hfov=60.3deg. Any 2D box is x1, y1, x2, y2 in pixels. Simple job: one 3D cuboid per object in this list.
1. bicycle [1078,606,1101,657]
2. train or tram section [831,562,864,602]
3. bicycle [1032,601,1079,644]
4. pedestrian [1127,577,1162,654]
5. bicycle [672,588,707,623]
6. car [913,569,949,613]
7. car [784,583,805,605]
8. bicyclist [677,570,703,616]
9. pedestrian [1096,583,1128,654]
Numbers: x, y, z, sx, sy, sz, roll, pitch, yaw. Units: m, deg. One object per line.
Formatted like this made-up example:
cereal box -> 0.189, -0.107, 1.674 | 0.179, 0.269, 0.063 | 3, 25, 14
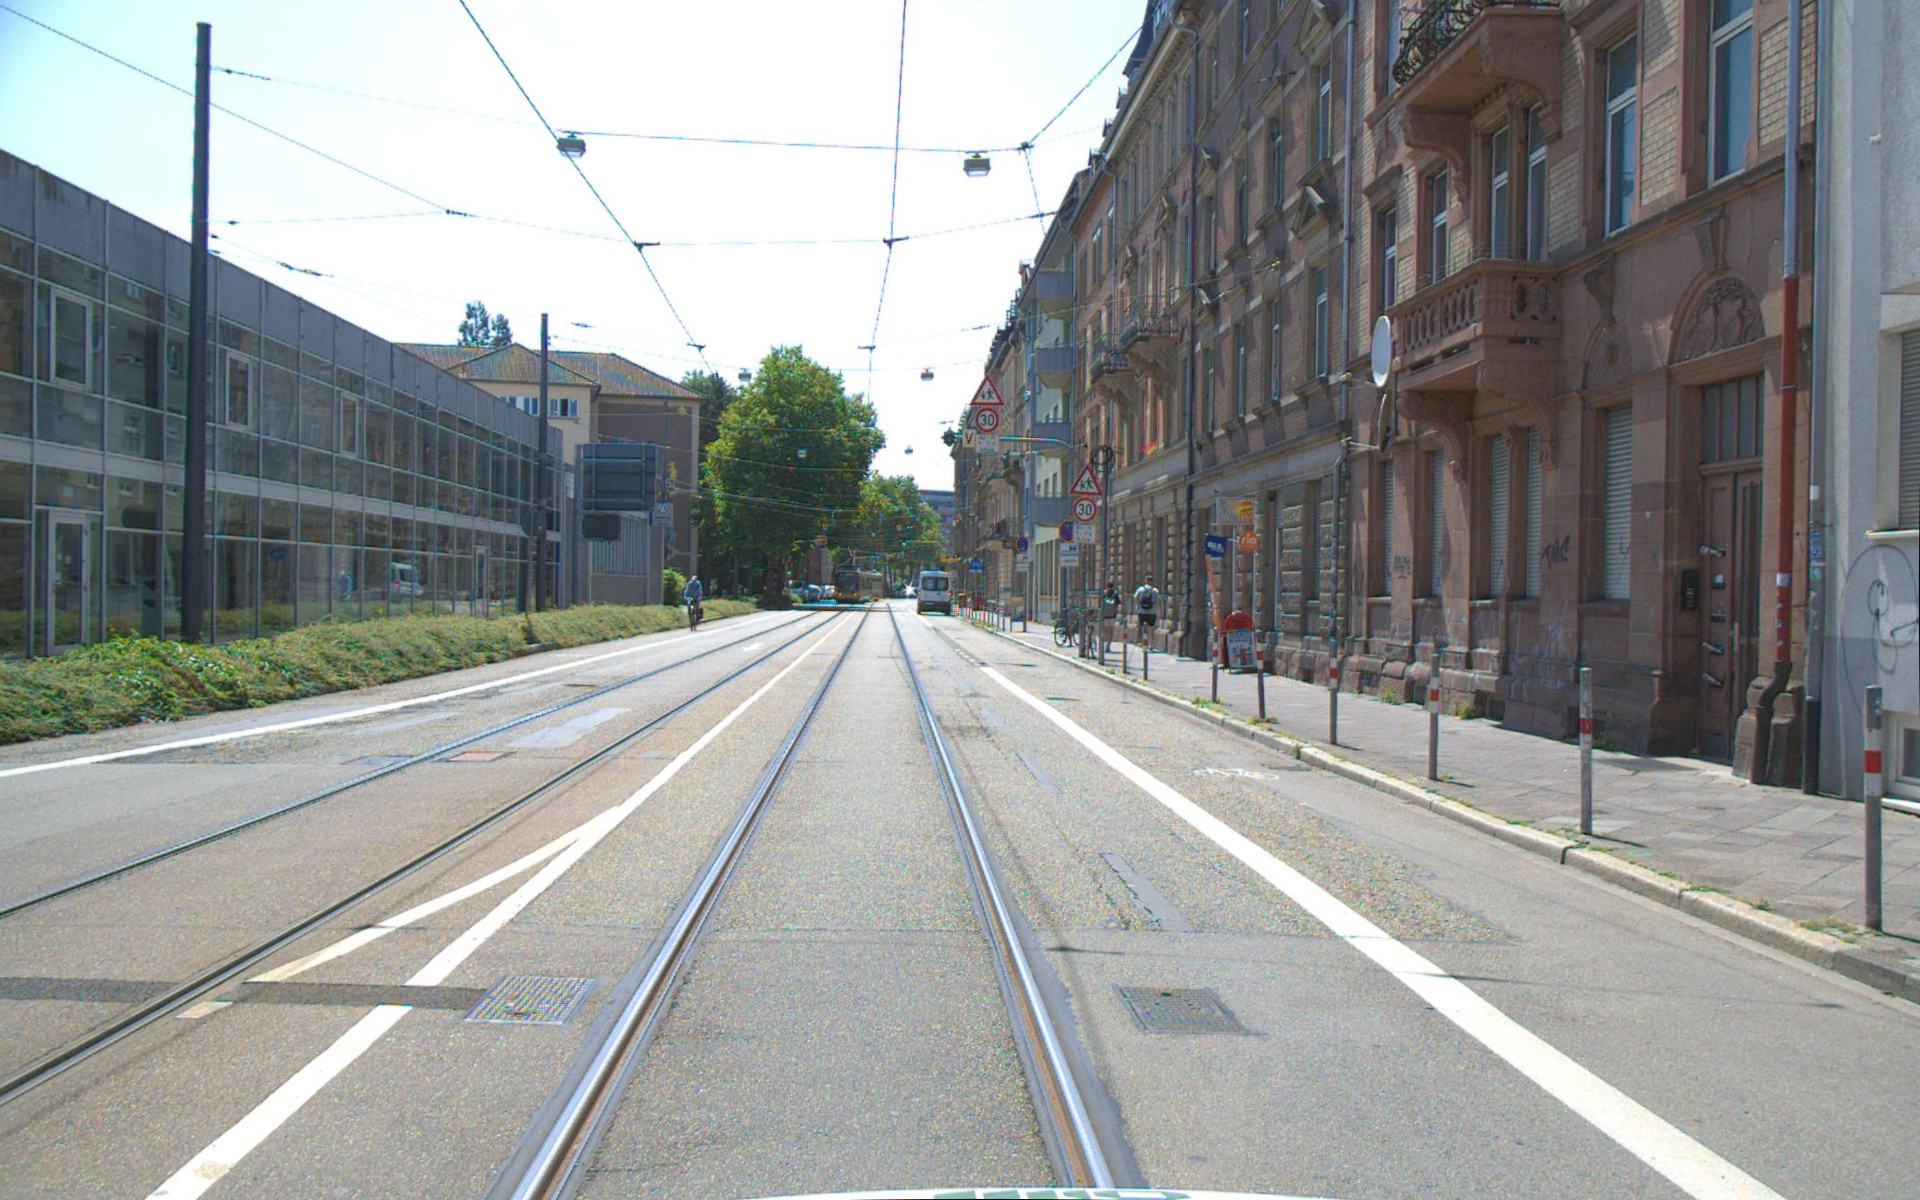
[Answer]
bicycle -> 2.955, 0.706, 37.955 | 0.438, 1.116, 2.423 | 0, 0, 3
train or tram section -> -10.762, -1.674, 159.083 | 2.902, 3.643, 13.415 | 1, 0, -3
bicycle -> 2.651, 0.616, 45.738 | 0.489, 1.150, 2.241 | 0, 0, 25
pedestrian -> 4.617, 0.372, 41.402 | 0.688, 1.881, 0.643 | -3, 0, -2
bicycle -> -9.208, 0.178, 56.365 | 0.683, 1.164, 2.496 | 1, 0, 2
car -> -1.753, -0.539, 99.702 | 2.026, 2.544, 5.452 | 2, 0, -2
car -> -14.949, -0.546, 149.178 | 1.765, 1.956, 3.996 | 2, 0, -5
bicyclist -> -9.193, -0.239, 56.394 | 0.683, 1.575, 0.980 | 1, 0, 1
pedestrian -> 3.795, 0.460, 41.425 | 0.705, 1.750, 0.643 | 1, 0, -2
